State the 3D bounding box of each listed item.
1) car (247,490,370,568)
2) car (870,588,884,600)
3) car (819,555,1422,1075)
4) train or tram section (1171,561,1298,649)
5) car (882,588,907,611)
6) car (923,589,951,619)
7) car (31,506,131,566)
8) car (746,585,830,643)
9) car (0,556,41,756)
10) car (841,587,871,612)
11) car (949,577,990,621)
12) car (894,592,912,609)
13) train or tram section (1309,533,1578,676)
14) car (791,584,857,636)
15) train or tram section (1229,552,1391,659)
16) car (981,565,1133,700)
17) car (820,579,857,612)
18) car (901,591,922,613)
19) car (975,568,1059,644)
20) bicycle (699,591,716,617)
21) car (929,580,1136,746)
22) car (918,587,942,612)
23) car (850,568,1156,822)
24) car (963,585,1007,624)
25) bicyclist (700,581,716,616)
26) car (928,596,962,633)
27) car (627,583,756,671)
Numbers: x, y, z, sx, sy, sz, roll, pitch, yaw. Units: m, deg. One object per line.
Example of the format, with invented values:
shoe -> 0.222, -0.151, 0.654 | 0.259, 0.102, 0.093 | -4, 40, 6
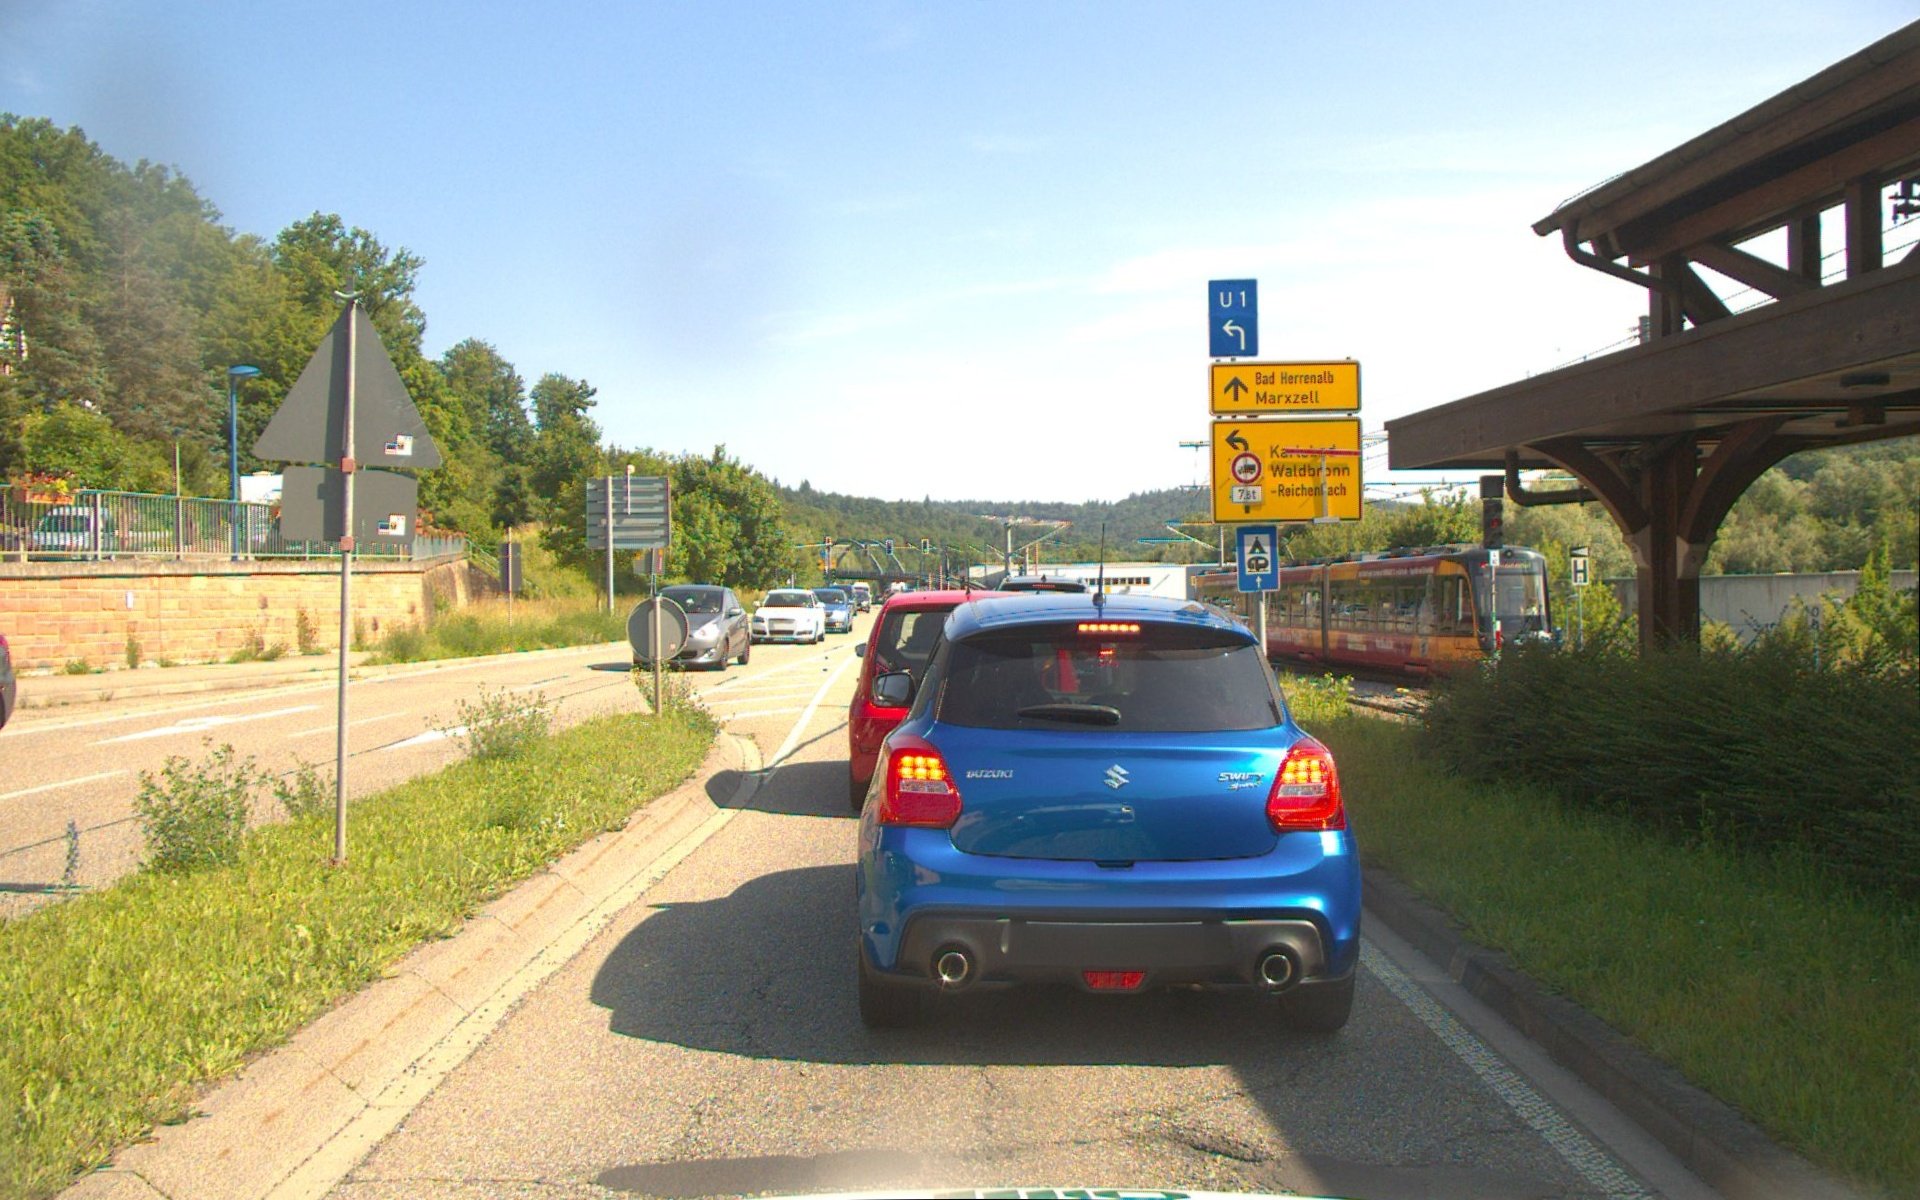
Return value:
car -> -17.737, -1.904, 45.293 | 1.982, 1.953, 4.724 | 2, 1, -7
car -> -12.481, -0.909, 249.542 | 1.953, 1.770, 4.000 | 2, 1, -1
car -> 0.442, 0.642, 7.036 | 1.830, 1.575, 3.999 | 1, 0, -2
train or tram section -> 11.720, 0.115, 72.003 | 2.701, 3.422, 12.040 | 2, 1, -4
car -> -5.510, -0.044, 139.998 | 1.953, 1.814, 3.999 | 1, 0, -1
car -> -1.681, 0.258, 121.943 | 1.953, 2.048, 4.000 | 2, 1, -1
car -> -26.155, -1.862, 49.336 | 1.864, 1.658, 3.982 | 0, 1, -16
car -> -4.588, 0.352, 44.540 | 1.795, 1.393, 3.950 | 1, 1, 1
car -> -8.635, 0.451, 11.459 | 1.952, 1.591, 4.510 | 0, 1, 1
car -> -6.898, -0.040, 110.018 | 1.795, 1.456, 3.810 | 2, 1, -2
car -> 0.461, -0.065, 83.928 | 1.953, 2.048, 4.000 | 2, 1, -1
car -> -6.537, 0.044, 190.152 | 1.953, 1.848, 4.000 | 2, 1, -1
train or tram section -> 13.229, 0.059, 47.197 | 2.799, 3.423, 14.346 | 1, 0, -3
car -> -4.553, 0.298, 55.778 | 1.795, 1.493, 3.812 | 2, 3, 1
train or tram section -> 12.450, 0.199, 60.149 | 2.731, 3.423, 12.041 | 2, 0, -3
car -> 1.304, 0.410, 24.072 | 1.952, 1.716, 4.497 | 2, 1, 1
car -> -7.001, -0.272, 95.693 | 1.795, 1.743, 3.811 | 2, 1, 1
car -> -4.931, 0.193, 167.851 | 1.953, 2.048, 4.000 | 2, 1, -1
car -> 1.396, 0.117, 41.720 | 1.952, 1.766, 4.000 | 2, 1, 1
bicycle -> -11.063, 0.161, 72.415 | 0.555, 1.061, 1.550 | 2, 1, -4
car -> 0.718, 0.577, 17.979 | 1.952, 1.558, 4.602 | 0, 1, 1
car -> -2.606, -0.060, 142.498 | 1.953, 2.048, 4.000 | 2, 1, -1
car -> 0.304, 0.614, 12.704 | 1.952, 1.598, 4.000 | 1, 0, 1
car -> 1.088, 0.177, 71.129 | 1.794, 1.519, 3.812 | 2, 1, 1
bicyclist -> -11.039, -0.066, 72.389 | 0.617, 1.533, 0.505 | 2, 1, -4
car -> -0.942, 0.855, 101.188 | 1.953, 2.048, 4.000 | 2, 1, -1
car -> -4.773, 0.450, 29.860 | 1.637, 1.466, 3.840 | 1, 0, 1
